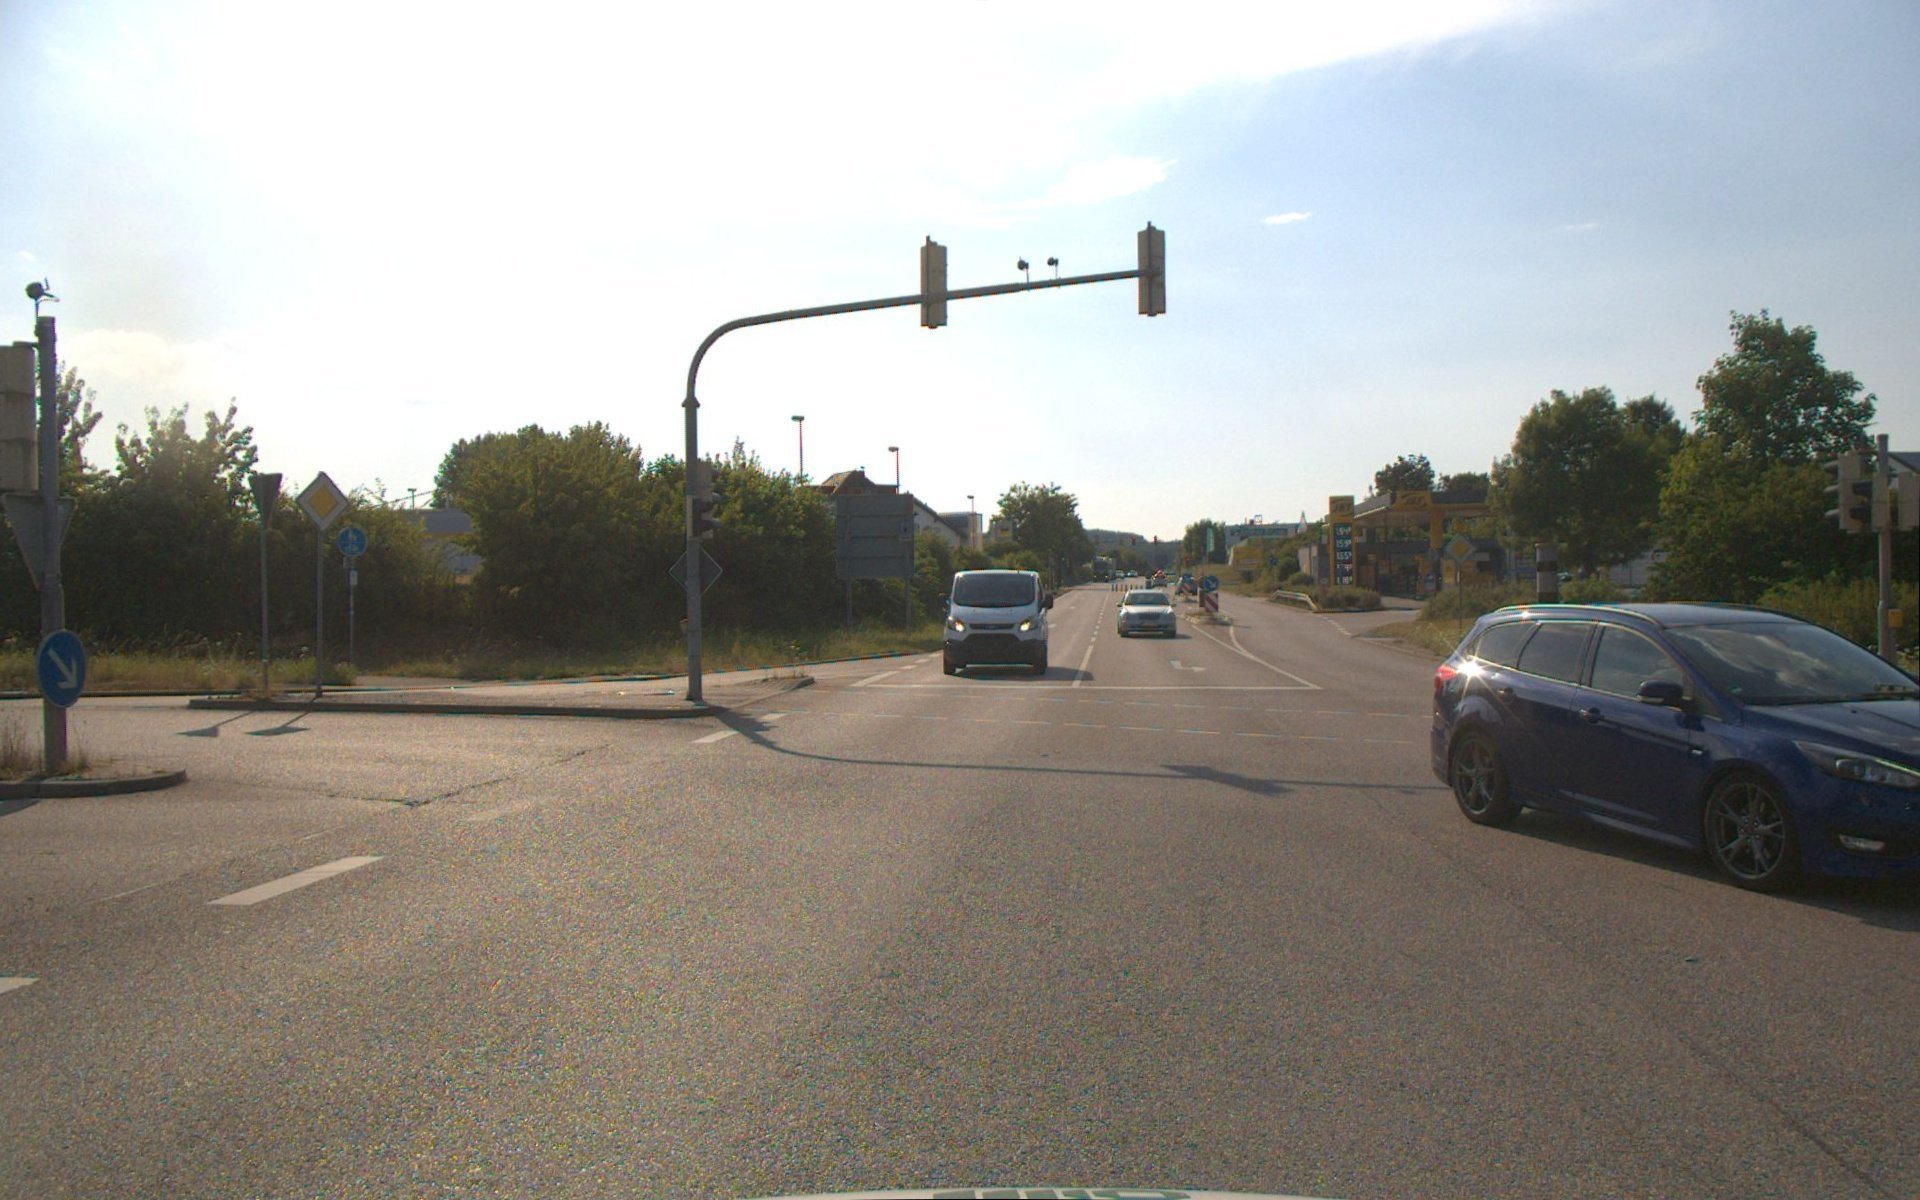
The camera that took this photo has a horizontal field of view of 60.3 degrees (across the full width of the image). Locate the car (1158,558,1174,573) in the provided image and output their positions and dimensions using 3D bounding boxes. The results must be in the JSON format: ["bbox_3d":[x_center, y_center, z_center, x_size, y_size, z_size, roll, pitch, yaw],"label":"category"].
[{"bbox_3d":[29.902,-5.042,240.372,1.952,2.049,4.000,1,0,1],"label":"car"}]

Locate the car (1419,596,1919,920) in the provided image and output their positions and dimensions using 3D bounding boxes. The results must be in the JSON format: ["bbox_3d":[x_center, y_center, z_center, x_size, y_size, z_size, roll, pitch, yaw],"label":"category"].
[{"bbox_3d":[4.709,0.764,10.101,1.758,1.524,4.285,1,0,-15],"label":"car"}]

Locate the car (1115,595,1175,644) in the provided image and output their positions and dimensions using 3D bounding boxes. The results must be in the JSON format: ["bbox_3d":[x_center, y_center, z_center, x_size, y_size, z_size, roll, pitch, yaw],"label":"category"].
[{"bbox_3d":[6.059,0.637,54.568,1.818,1.540,4.956,1,0,5],"label":"car"}]

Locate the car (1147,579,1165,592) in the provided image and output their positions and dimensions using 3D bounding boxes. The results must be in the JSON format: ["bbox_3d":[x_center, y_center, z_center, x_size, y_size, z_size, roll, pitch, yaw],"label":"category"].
[{"bbox_3d":[22.765,-1.690,191.956,1.705,1.376,3.204,1,0,1],"label":"car"}]

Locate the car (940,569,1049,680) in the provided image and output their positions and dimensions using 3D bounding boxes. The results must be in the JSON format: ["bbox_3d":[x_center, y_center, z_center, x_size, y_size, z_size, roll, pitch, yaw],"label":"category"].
[{"bbox_3d":[0.758,0.400,32.865,1.860,1.981,4.821,1,1,4],"label":"car"}]

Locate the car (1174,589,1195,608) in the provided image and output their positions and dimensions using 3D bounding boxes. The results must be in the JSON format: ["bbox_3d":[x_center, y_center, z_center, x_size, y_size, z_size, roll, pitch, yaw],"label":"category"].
[{"bbox_3d":[18.701,-0.119,137.672,1.517,1.474,3.051,1,0,4],"label":"car"}]
